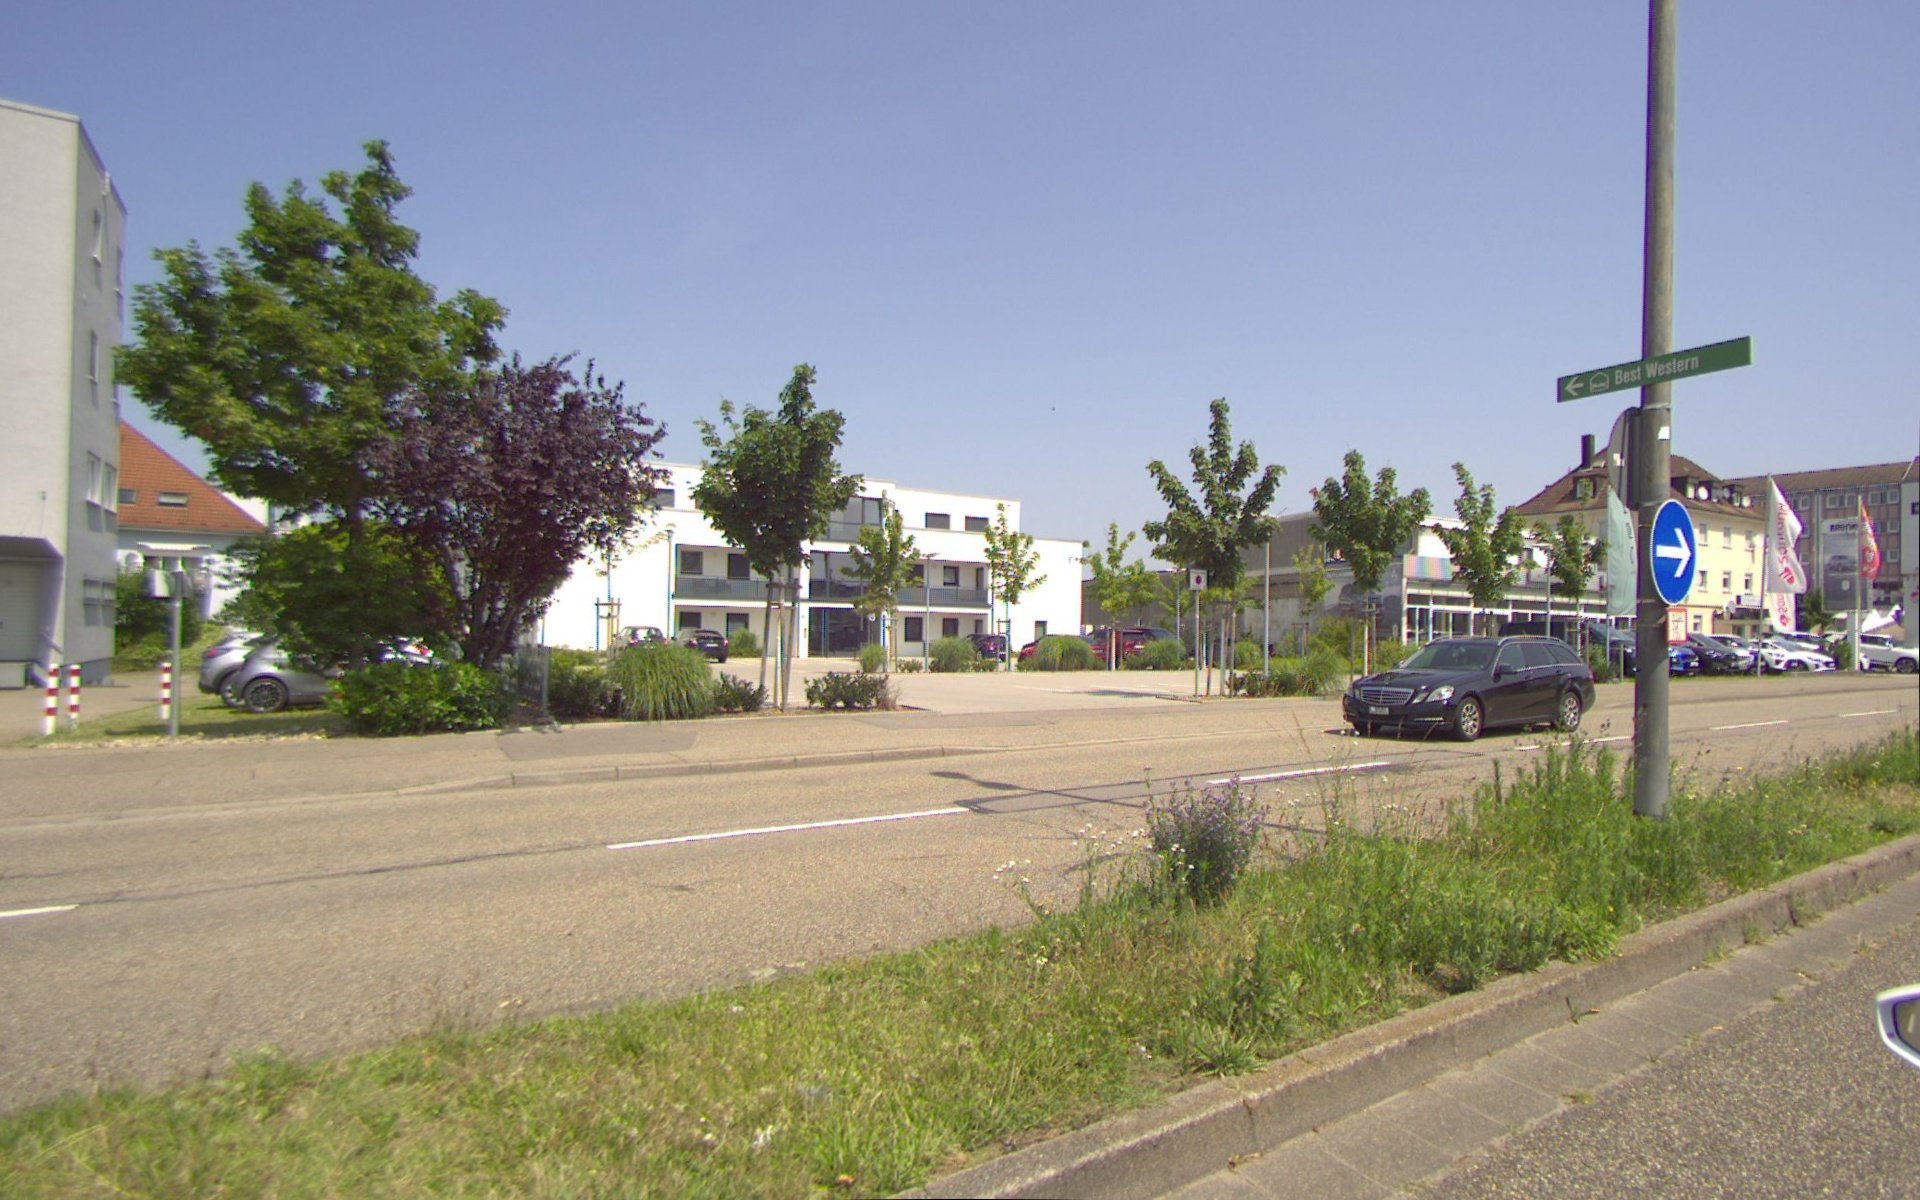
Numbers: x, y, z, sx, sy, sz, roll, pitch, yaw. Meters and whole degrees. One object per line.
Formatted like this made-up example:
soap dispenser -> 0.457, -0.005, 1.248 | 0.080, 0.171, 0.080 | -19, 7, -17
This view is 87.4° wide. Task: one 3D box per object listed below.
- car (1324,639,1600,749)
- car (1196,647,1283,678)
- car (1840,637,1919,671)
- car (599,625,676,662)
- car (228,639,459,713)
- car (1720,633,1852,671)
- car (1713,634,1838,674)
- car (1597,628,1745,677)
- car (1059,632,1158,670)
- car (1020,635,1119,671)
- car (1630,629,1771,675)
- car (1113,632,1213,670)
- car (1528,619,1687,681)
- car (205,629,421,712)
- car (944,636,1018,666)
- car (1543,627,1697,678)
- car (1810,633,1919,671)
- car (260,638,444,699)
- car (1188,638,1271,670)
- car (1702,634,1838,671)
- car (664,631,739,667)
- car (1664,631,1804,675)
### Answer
car -> 7.899, 1.354, 15.660 | 4.663, 1.480, 1.817 | 2, -2, -34
car -> 12.568, 2.786, 45.303 | 1.631, 1.261, 3.694 | 1, -2, -30
car -> 47.398, 2.724, 50.745 | 4.093, 1.664, 1.841 | 0, -2, 6
car -> -13.684, 1.819, 42.460 | 1.862, 1.472, 3.957 | 2, -2, -38
car -> -11.346, 1.364, 18.718 | 3.514, 1.248, 1.546 | 1, -2, -30
car -> 34.647, 2.148, 42.234 | 1.741, 1.486, 3.964 | 2, -2, -33
car -> 35.901, 2.347, 44.341 | 3.924, 1.645, 1.759 | 0, -2, 25
car -> 25.358, 1.837, 35.941 | 1.741, 1.629, 3.964 | 1, -2, -33
car -> 6.143, 2.082, 41.782 | 1.861, 1.472, 3.960 | 2, -2, -36
car -> 4.330, 2.083, 40.262 | 1.829, 1.332, 3.961 | 2, -2, -35
car -> 27.875, 1.922, 37.914 | 1.741, 1.588, 3.964 | 1, -2, -33
car -> 8.509, 2.127, 42.454 | 1.861, 1.472, 3.960 | 2, -2, -36
car -> 21.214, 1.603, 33.040 | 1.979, 1.906, 3.964 | 1, -2, -33
car -> -12.915, 1.369, 20.276 | 3.514, 1.539, 1.546 | 1, -2, -30
car -> 1.059, 2.614, 52.306 | 1.861, 1.472, 3.960 | 2, -2, -36
car -> 22.620, 1.765, 34.544 | 2.067, 1.629, 3.964 | 2, -2, -33
car -> 44.010, 2.465, 48.276 | 1.741, 1.732, 4.520 | 1, -2, -33
car -> -15.054, 1.664, 25.099 | 3.788, 1.402, 1.911 | 1, -2, -30
car -> 11.462, 2.270, 42.927 | 1.701, 1.240, 3.523 | 1, -2, -21
car -> 32.882, 2.104, 40.874 | 1.840, 1.413, 3.964 | 2, -2, -33
car -> -11.368, 2.116, 43.961 | 1.861, 1.472, 3.960 | 2, -2, -36
car -> 30.423, 2.039, 39.579 | 1.905, 1.629, 3.964 | 2, -2, -33
